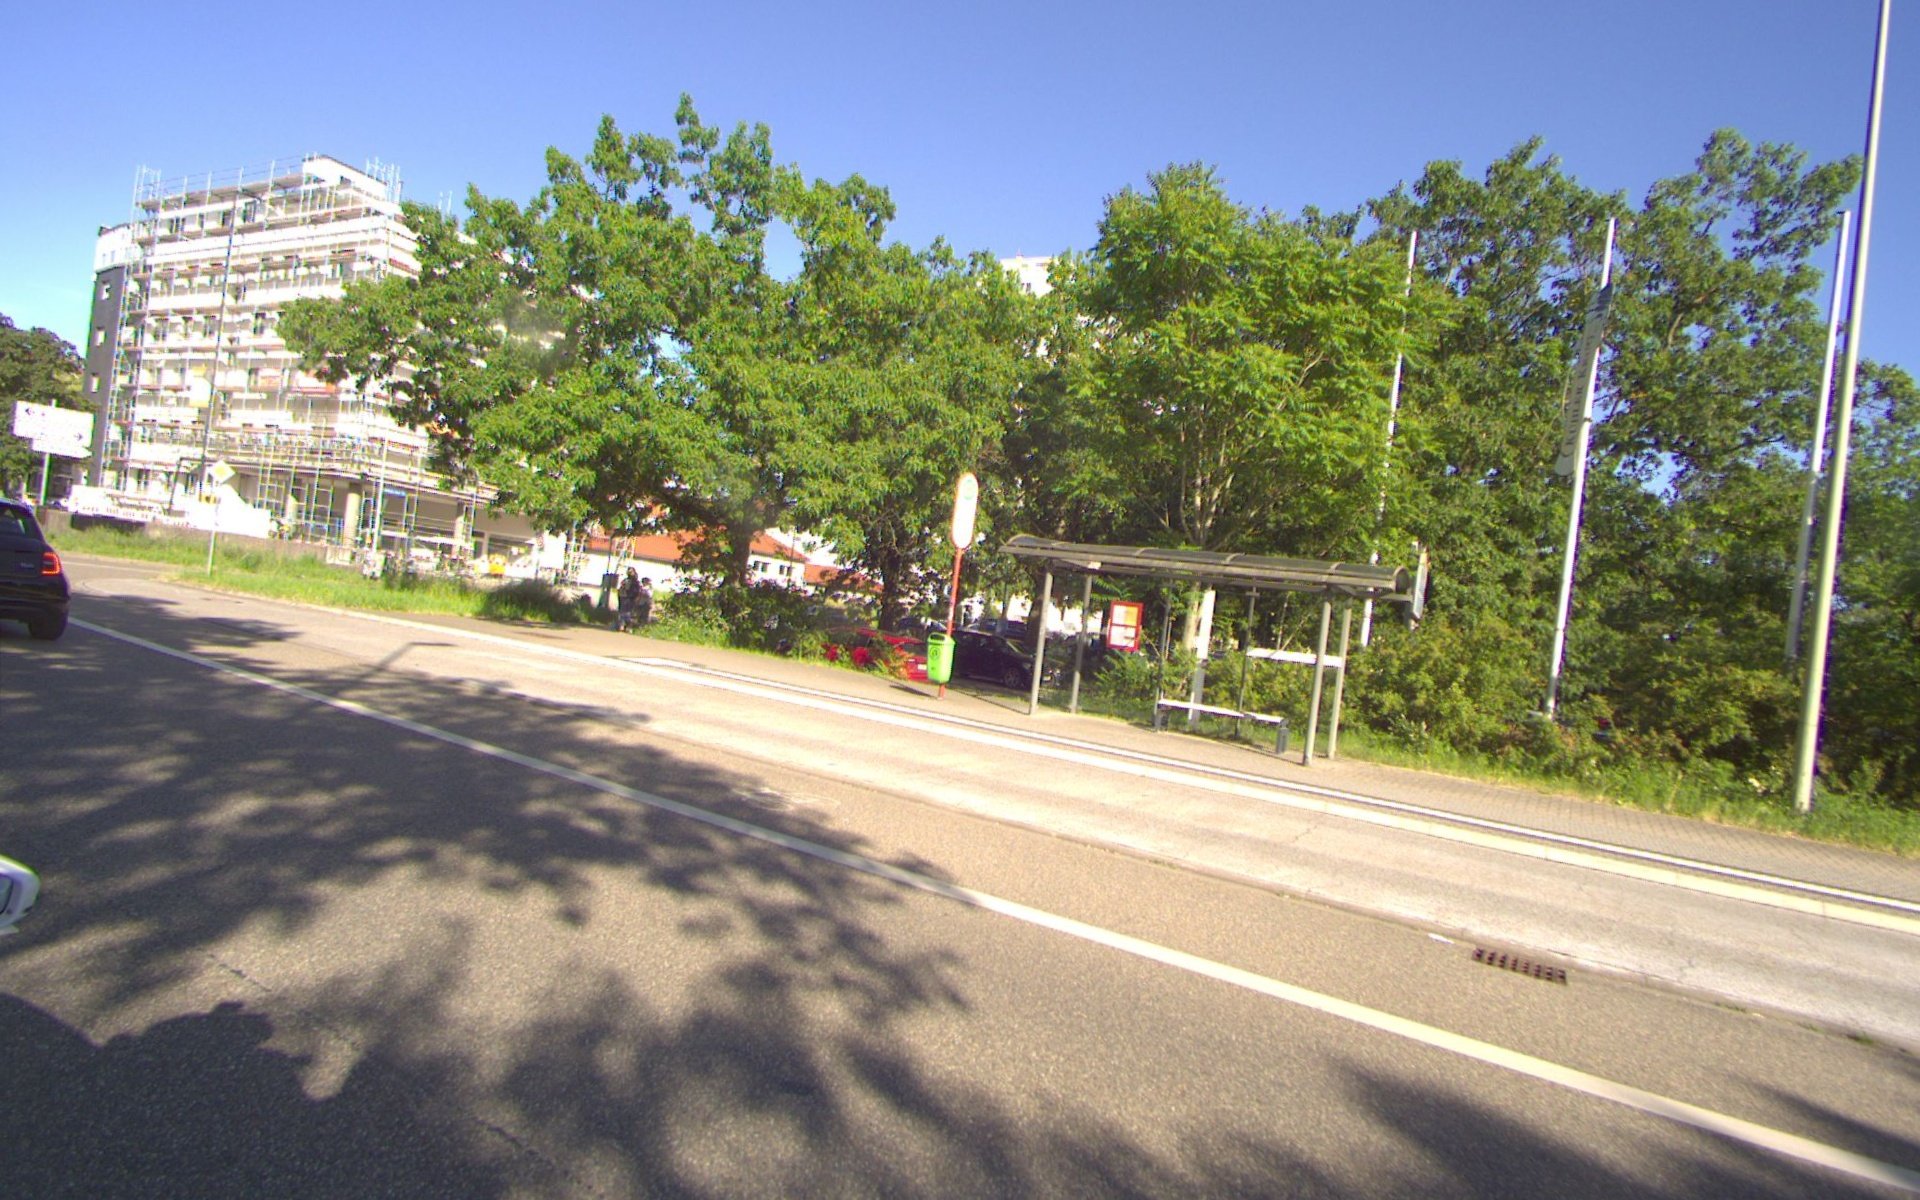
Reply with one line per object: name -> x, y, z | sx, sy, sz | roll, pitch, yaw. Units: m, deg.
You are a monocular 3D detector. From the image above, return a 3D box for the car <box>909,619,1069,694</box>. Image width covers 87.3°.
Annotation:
car -> 0.907, 1.847, 33.214 | 4.811, 1.555, 1.997 | 9, -1, 35

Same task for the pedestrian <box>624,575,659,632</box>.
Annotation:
pedestrian -> -9.040, 0.102, 28.539 | 0.604, 1.536, 0.528 | 7, 0, 34

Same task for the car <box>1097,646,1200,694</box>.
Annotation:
car -> 8.245, 3.062, 44.207 | 1.989, 1.573, 3.951 | 9, -3, -43

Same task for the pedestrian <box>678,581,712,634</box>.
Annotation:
pedestrian -> -8.629, 0.246, 32.822 | 0.557, 1.638, 0.705 | 6, -2, 26

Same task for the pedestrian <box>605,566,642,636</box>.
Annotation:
pedestrian -> -8.583, 0.027, 25.648 | 0.403, 1.721, 0.603 | 7, 0, 31

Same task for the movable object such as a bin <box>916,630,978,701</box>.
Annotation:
movable object such as a bin -> -0.206, 1.040, 15.886 | 0.568, 1.042, 0.727 | 7, 0, 31

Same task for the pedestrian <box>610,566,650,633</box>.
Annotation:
pedestrian -> -8.657, -0.012, 26.382 | 0.542, 1.654, 0.622 | 7, 0, 32

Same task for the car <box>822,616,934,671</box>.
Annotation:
car -> -3.263, 1.715, 39.943 | 3.938, 1.625, 1.996 | 6, -3, 35

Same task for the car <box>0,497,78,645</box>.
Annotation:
car -> -11.671, -0.506, 11.227 | 3.502, 1.521, 1.677 | 7, 0, 31

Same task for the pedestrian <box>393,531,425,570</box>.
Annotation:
pedestrian -> -23.711, -2.135, 43.325 | 0.892, 1.515, 0.651 | 7, 0, 24

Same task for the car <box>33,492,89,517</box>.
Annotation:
car -> -79.737, -8.476, 89.228 | 3.925, 1.613, 1.911 | 7, 0, 19

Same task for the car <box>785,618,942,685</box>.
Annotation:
car -> -2.509, 1.310, 25.916 | 3.846, 1.168, 1.399 | 7, -1, 31

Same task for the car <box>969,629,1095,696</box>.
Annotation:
car -> 2.555, 2.231, 36.074 | 3.938, 1.834, 1.846 | 6, -2, 35

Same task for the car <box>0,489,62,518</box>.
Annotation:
car -> -62.485, -6.452, 67.694 | 1.802, 1.526, 3.976 | 7, 0, -25

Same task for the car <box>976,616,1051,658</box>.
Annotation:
car -> 3.441, 2.378, 65.396 | 4.283, 2.098, 1.995 | 7, -1, 35

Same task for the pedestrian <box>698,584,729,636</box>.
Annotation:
pedestrian -> -8.242, 0.336, 33.626 | 0.557, 1.638, 0.599 | 6, -1, 26

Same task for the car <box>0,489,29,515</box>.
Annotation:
car -> -60.482, -6.249, 63.214 | 1.759, 1.460, 3.596 | 8, -1, -26
